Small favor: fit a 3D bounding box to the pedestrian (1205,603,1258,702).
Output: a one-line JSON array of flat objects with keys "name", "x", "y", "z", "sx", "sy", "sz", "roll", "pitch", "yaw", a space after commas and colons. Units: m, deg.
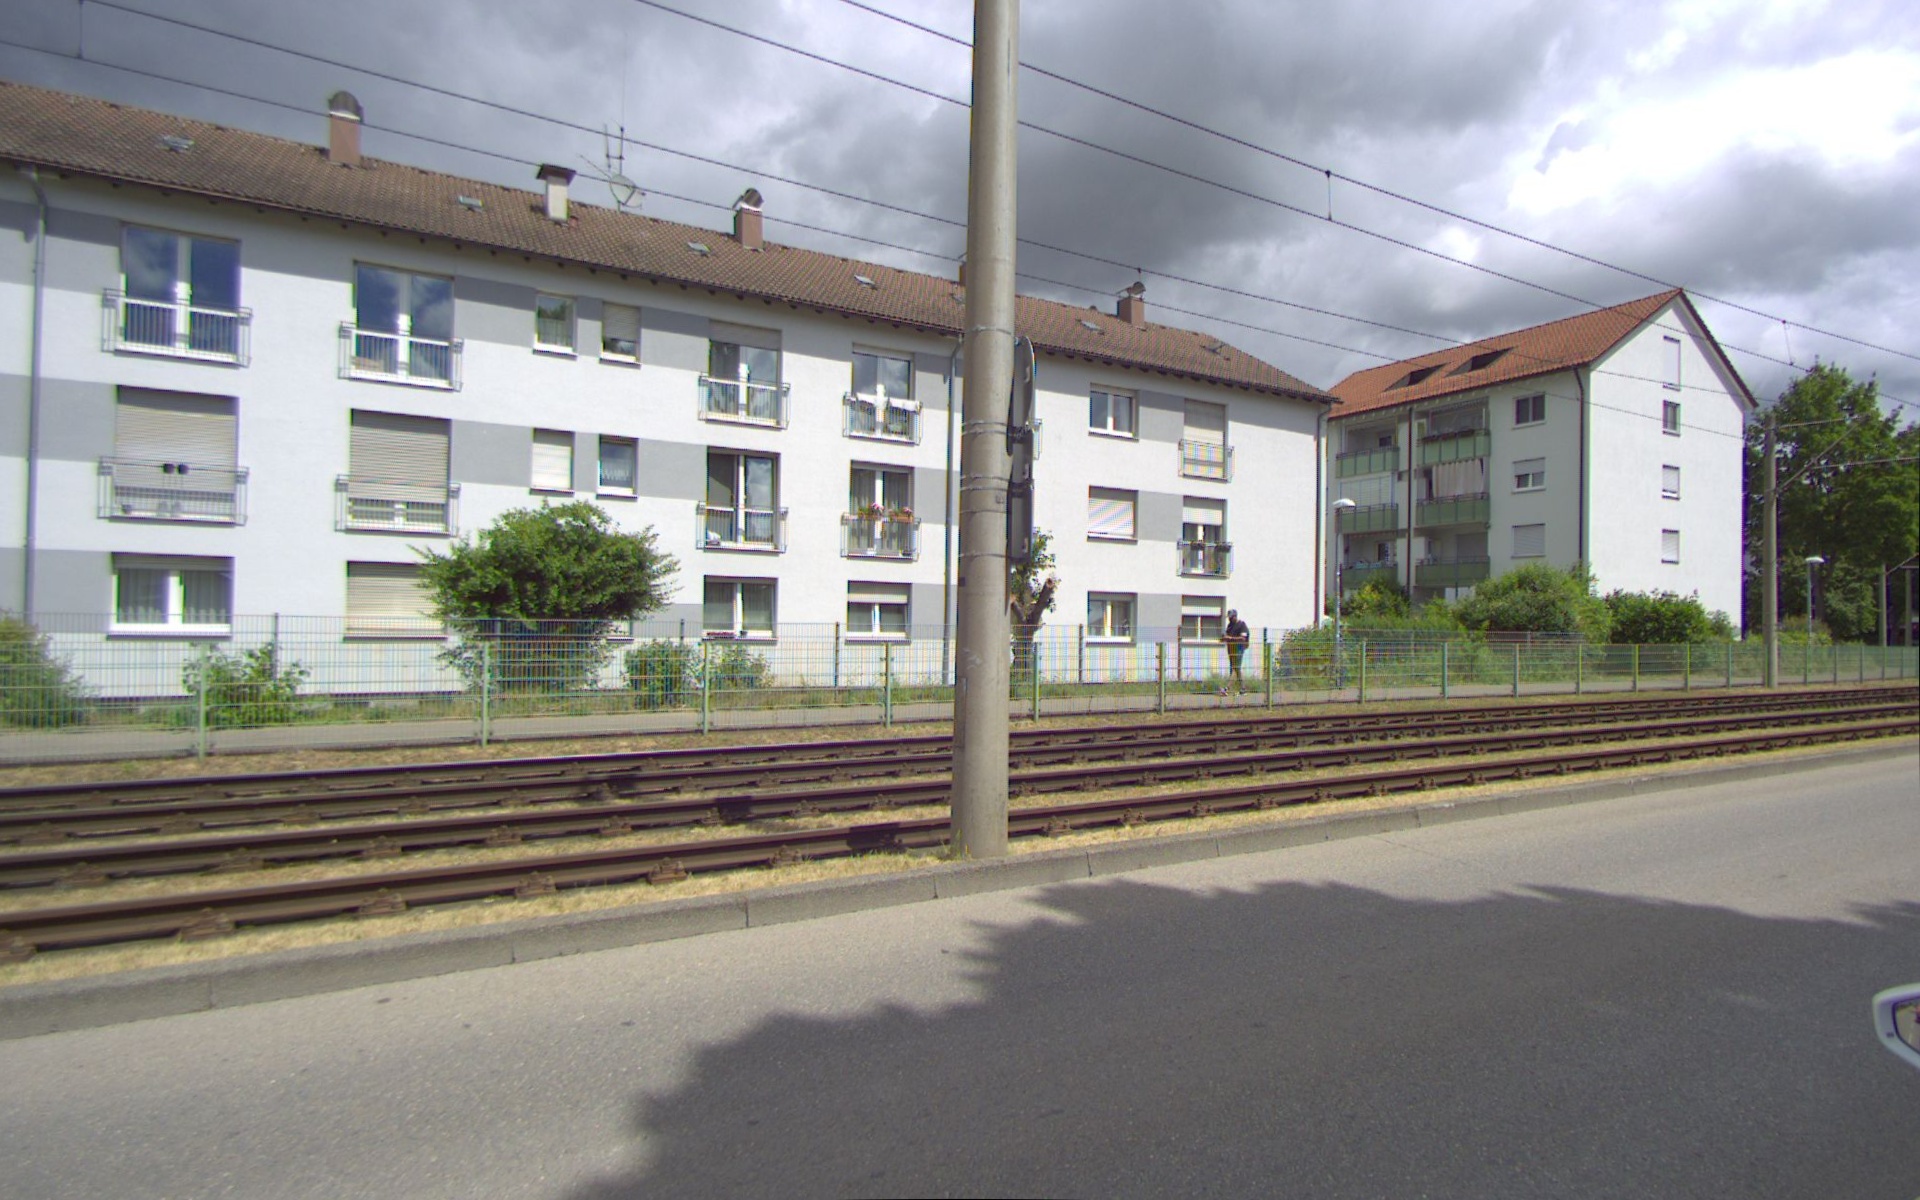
[{"name": "pedestrian", "x": 5.237, "y": 1.006, "z": 19.397, "sx": 0.759, "sy": 1.873, "sz": 0.656, "roll": 2, "pitch": -2, "yaw": -30}]
